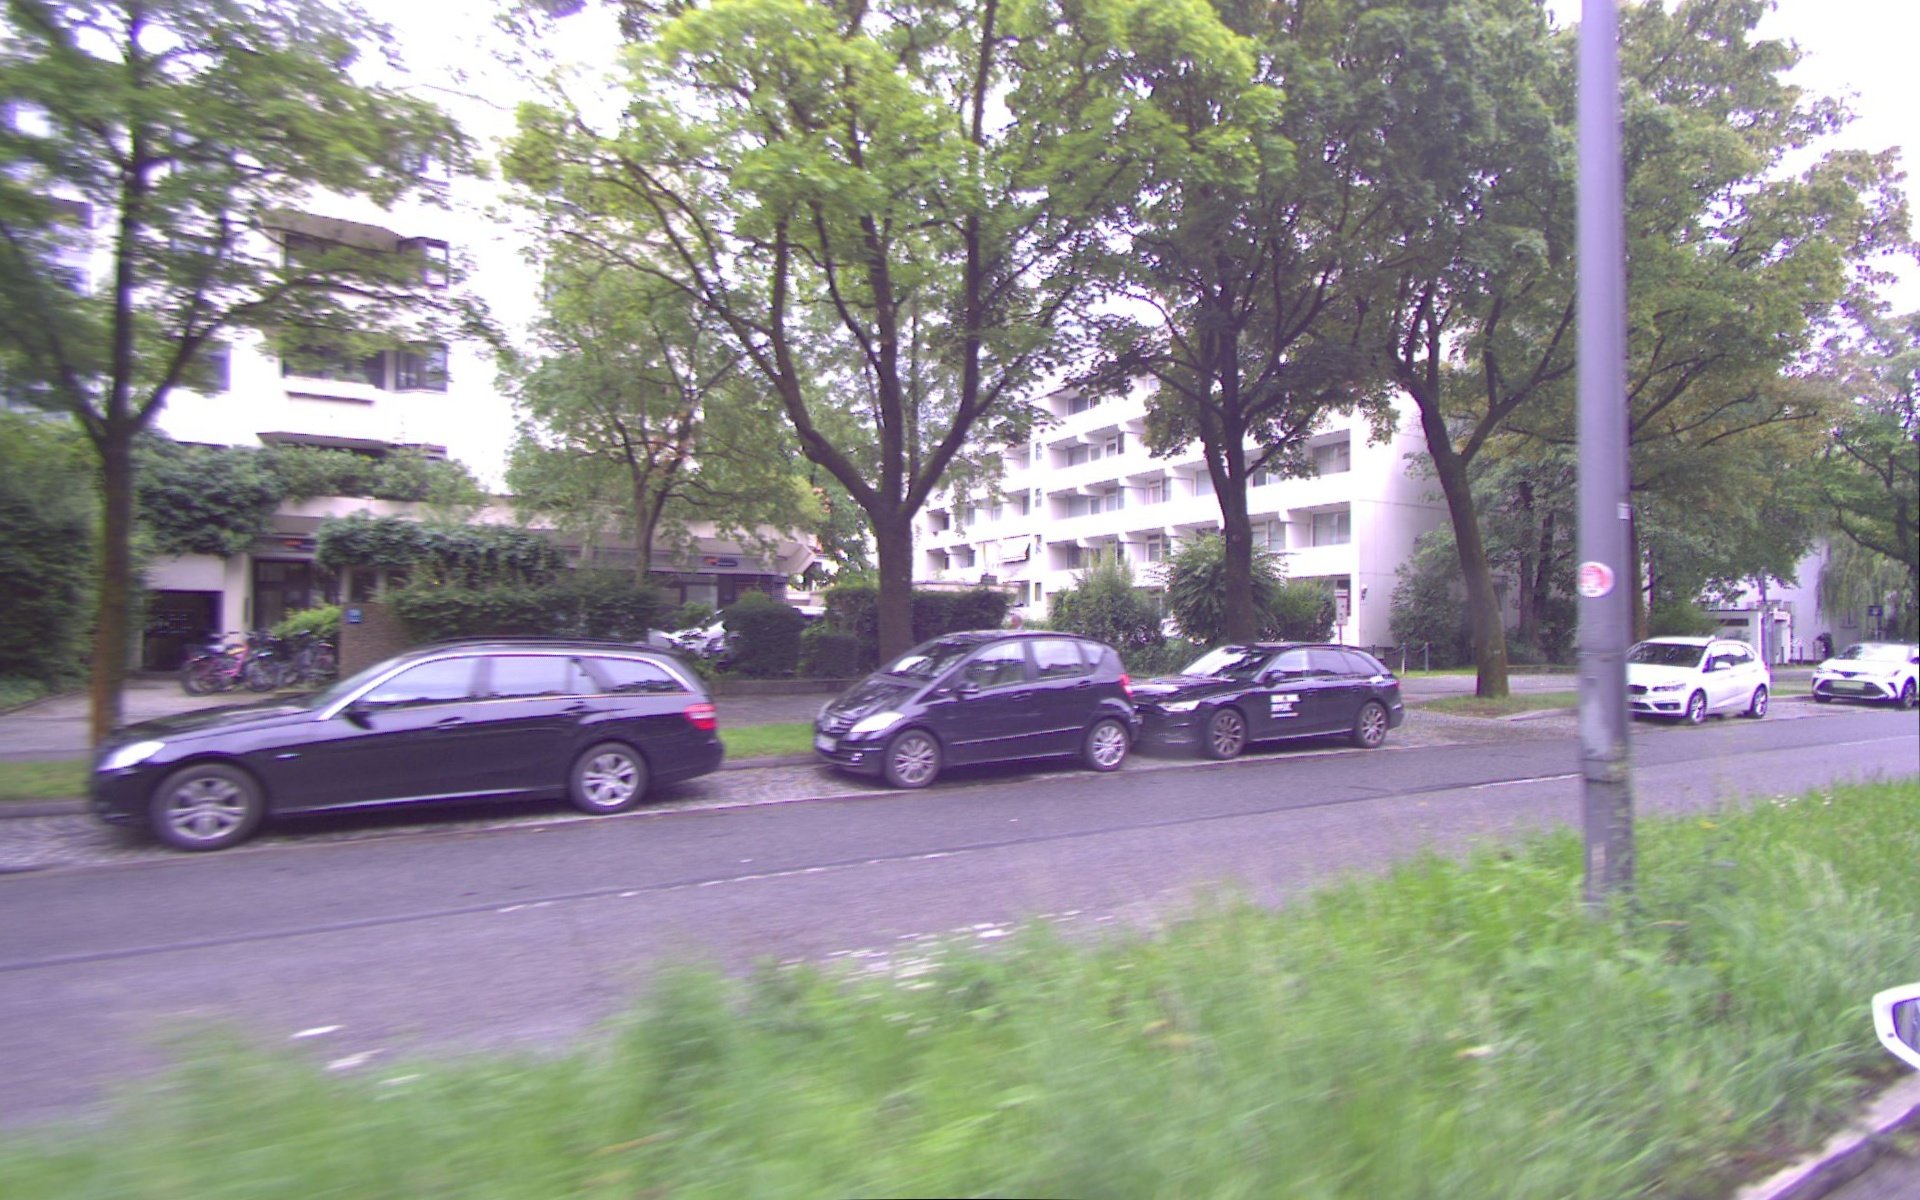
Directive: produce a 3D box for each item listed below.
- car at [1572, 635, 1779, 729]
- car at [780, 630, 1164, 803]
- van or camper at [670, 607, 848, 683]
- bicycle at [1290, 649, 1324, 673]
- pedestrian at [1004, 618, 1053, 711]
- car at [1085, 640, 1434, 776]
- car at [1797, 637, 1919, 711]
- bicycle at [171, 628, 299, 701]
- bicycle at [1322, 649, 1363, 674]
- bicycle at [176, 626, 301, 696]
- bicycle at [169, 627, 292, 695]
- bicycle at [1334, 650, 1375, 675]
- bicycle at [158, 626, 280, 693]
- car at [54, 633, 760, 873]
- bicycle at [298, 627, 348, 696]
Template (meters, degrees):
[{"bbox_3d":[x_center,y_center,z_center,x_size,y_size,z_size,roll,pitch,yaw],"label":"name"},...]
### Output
[{"bbox_3d":[14.267,1.537,19.964,4.438,1.616,1.748,1,0,-32],"label":"car"},{"bbox_3d":[0.196,1.197,11.578,4.160,1.618,1.678,1,0,-30],"label":"car"},{"bbox_3d":[-5.395,1.181,27.070,4.378,1.896,1.848,1,-2,-30],"label":"van or camper"},{"bbox_3d":[13.544,2.386,39.222,1.433,0.912,0.456,1,-2,-31],"label":"bicycle"},{"bbox_3d":[1.263,1.175,18.587,0.599,1.678,0.847,1,-2,-22],"label":"pedestrian"},{"bbox_3d":[4.240,1.368,13.964,4.888,1.533,1.752,1,0,-30],"label":"car"},{"bbox_3d":[22.916,1.764,24.940,4.438,1.631,1.824,1,0,-30],"label":"car"},{"bbox_3d":[-13.084,1.142,18.193,0.521,1.243,1.861,-1,-2,23],"label":"bicycle"},{"bbox_3d":[14.416,2.308,37.858,1.745,0.912,0.474,1,-2,-31],"label":"bicycle"},{"bbox_3d":[-13.467,1.125,18.818,0.522,1.243,1.859,-1,-2,26],"label":"bicycle"},{"bbox_3d":[-13.917,1.146,19.214,0.522,1.243,1.859,-1,-2,26],"label":"bicycle"},{"bbox_3d":[14.715,2.314,37.442,1.745,0.912,0.474,1,-2,-31],"label":"bicycle"},{"bbox_3d":[-14.408,1.138,19.582,0.522,1.243,1.859,-1,-2,26],"label":"bicycle"},{"bbox_3d":[-4.442,1.109,8.844,4.976,1.545,1.707,1,1,-31],"label":"car"},{"bbox_3d":[-11.966,1.128,18.842,0.528,1.243,1.839,2,-2,-40],"label":"bicycle"}]
